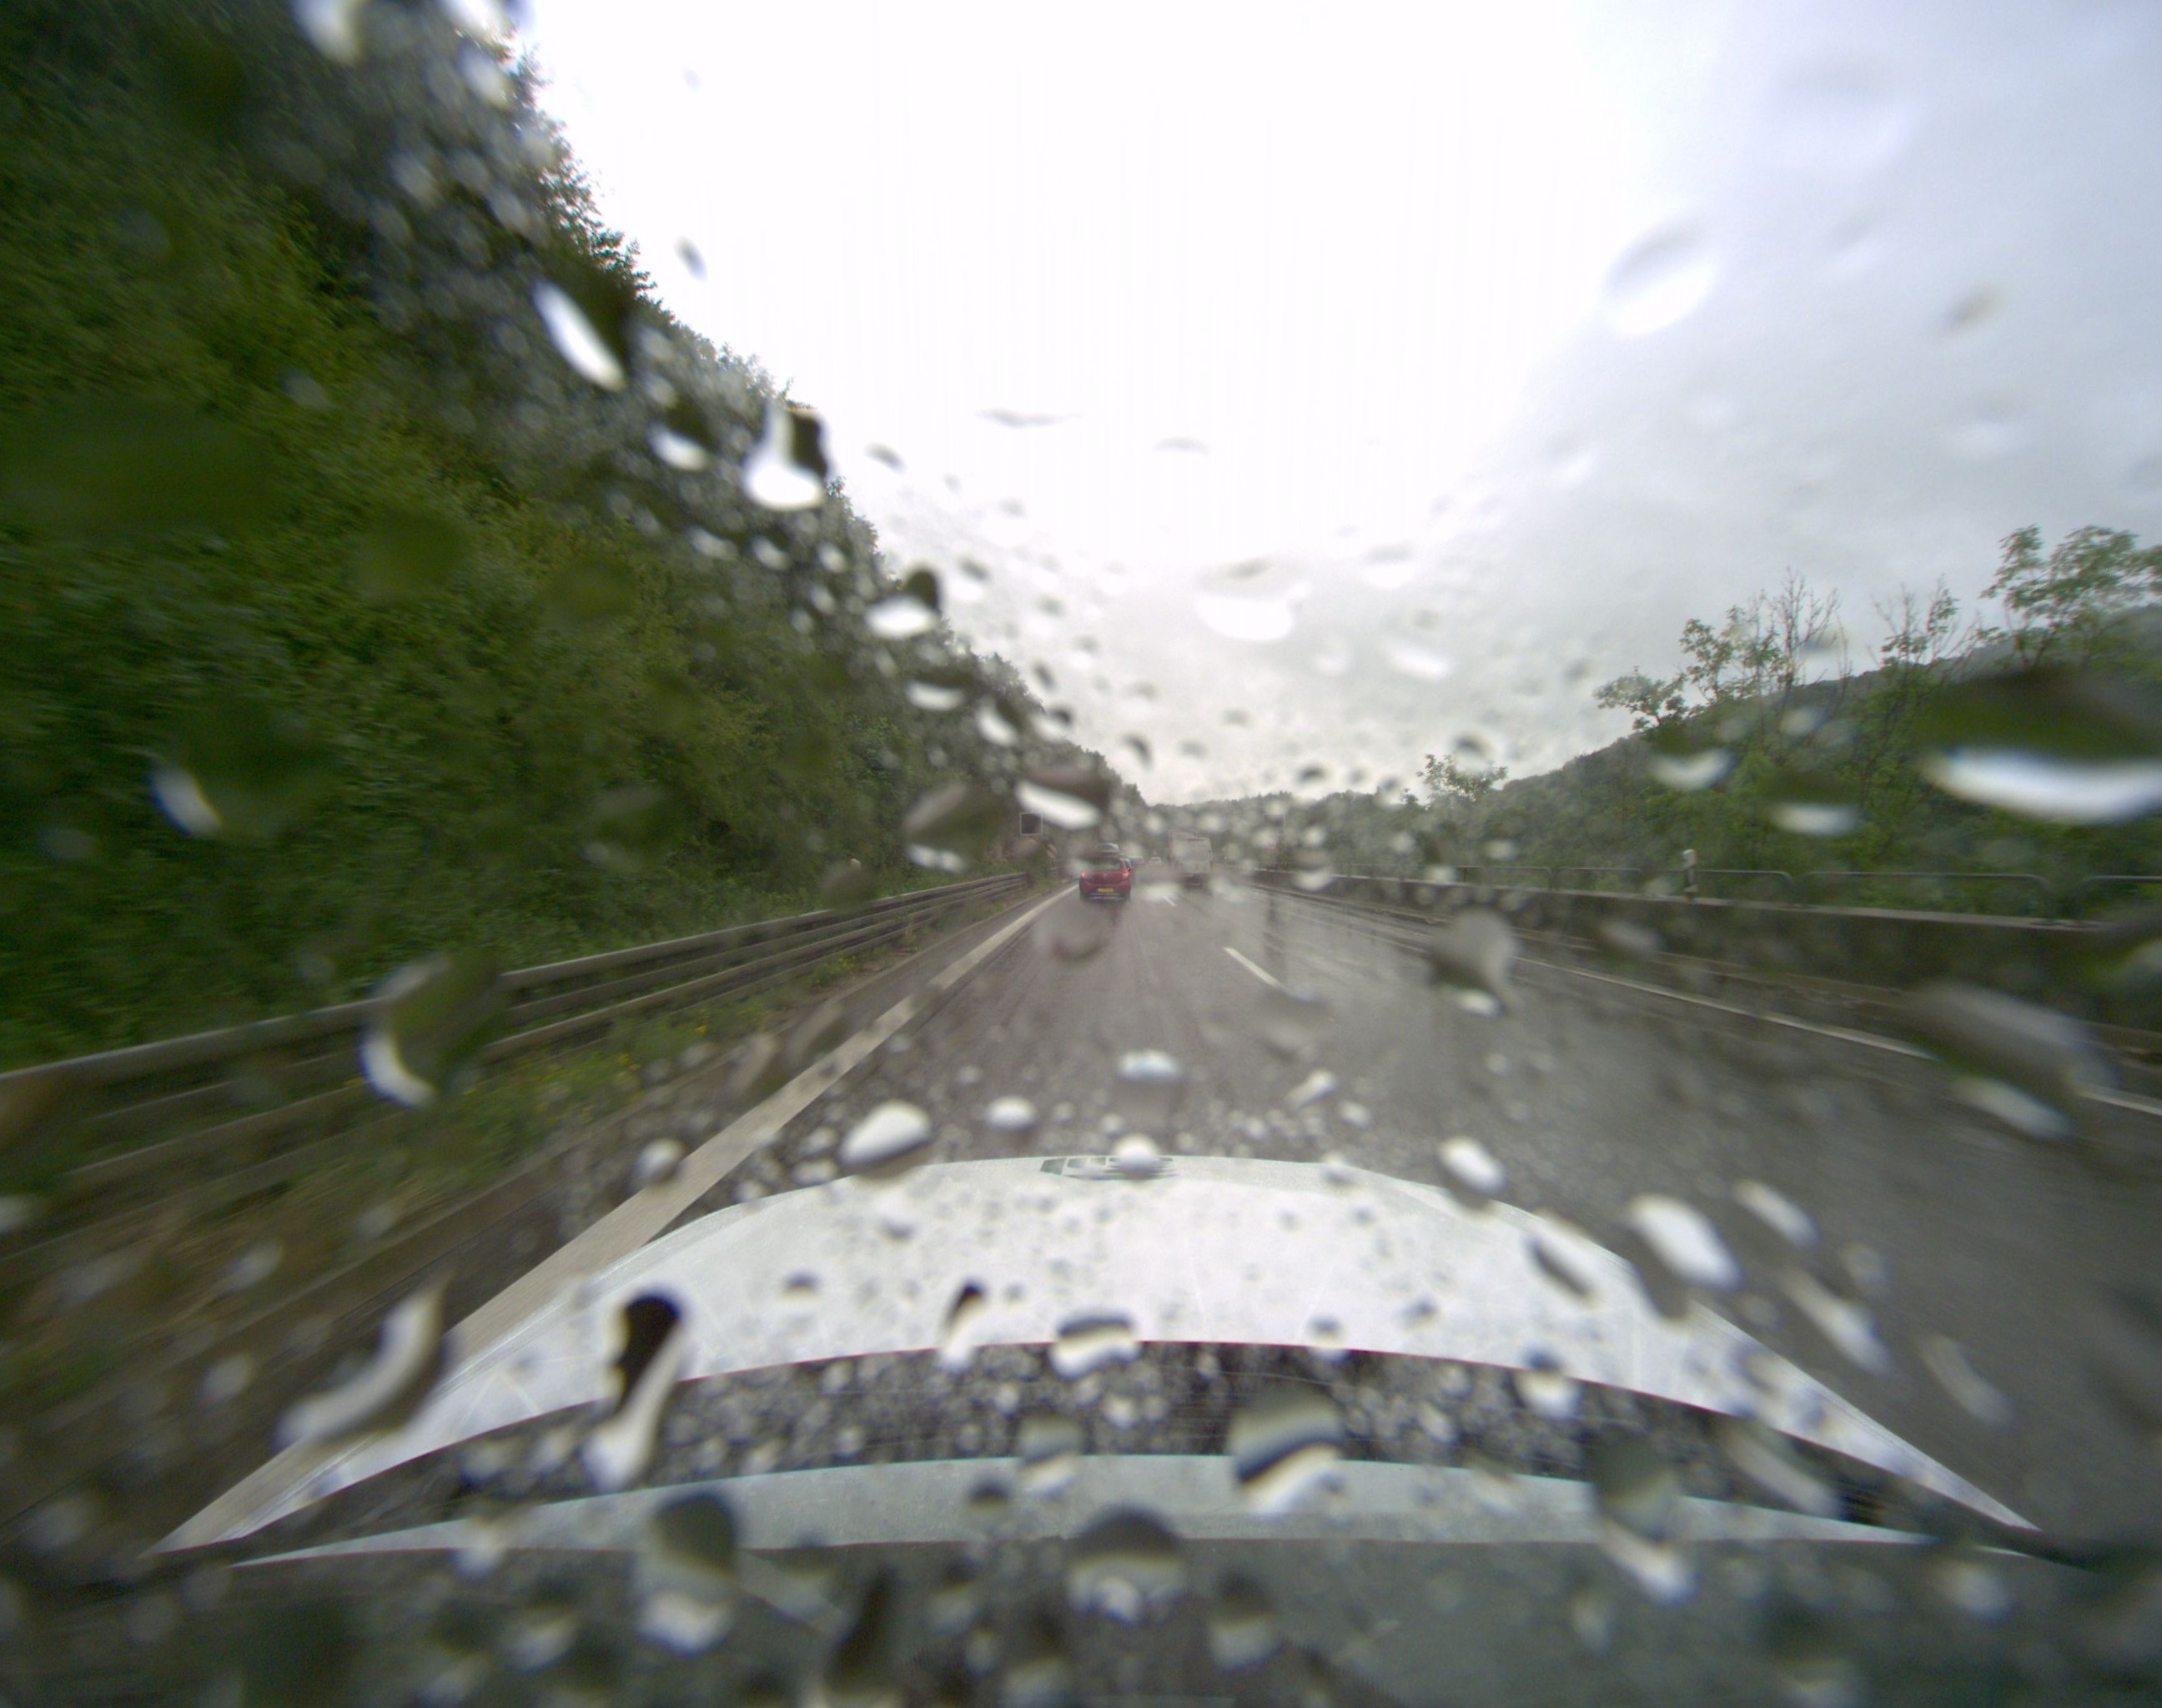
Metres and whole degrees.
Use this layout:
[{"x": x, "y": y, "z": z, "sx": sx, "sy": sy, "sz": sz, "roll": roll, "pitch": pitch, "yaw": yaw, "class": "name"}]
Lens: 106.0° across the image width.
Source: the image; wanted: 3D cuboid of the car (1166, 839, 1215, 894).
[{"x": 5.946, "y": 0.657, "z": 45.015, "sx": 2.196, "sy": 2.794, "sz": 7.390, "roll": 0, "pitch": 0, "yaw": 4, "class": "car"}]

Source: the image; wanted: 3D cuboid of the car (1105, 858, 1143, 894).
[{"x": 2.311, "y": 1.154, "z": 43.428, "sx": 1.825, "sy": 1.715, "sz": 3.648, "roll": -3, "pitch": -1, "yaw": 3, "class": "car"}]

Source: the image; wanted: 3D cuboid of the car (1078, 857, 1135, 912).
[{"x": 0.898, "y": 1.013, "z": 28.416, "sx": 1.751, "sy": 1.684, "sz": 4.002, "roll": -3, "pitch": -1, "yaw": 2, "class": "car"}]

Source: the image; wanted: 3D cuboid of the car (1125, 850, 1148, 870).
[{"x": 5.233, "y": 0.552, "z": 76.292, "sx": 1.865, "sy": 1.706, "sz": 3.896, "roll": -3, "pitch": -1, "yaw": 7, "class": "car"}]

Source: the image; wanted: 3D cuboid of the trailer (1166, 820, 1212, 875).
[{"x": 8.670, "y": -0.427, "z": 66.024, "sx": 3.201, "sy": 3.999, "sz": 13.549, "roll": -1, "pitch": -1, "yaw": 7, "class": "trailer"}]

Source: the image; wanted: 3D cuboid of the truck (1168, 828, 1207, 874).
[{"x": 9.528, "y": -0.241, "z": 73.091, "sx": 3.203, "sy": 3.978, "sz": 5.449, "roll": -1, "pitch": -1, "yaw": 7, "class": "truck"}]

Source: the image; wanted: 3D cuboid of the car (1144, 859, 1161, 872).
[{"x": 9.494, "y": 1.548, "z": 107.903, "sx": 1.982, "sy": 1.639, "sz": 4.009, "roll": -3, "pitch": -1, "yaw": 8, "class": "car"}]
